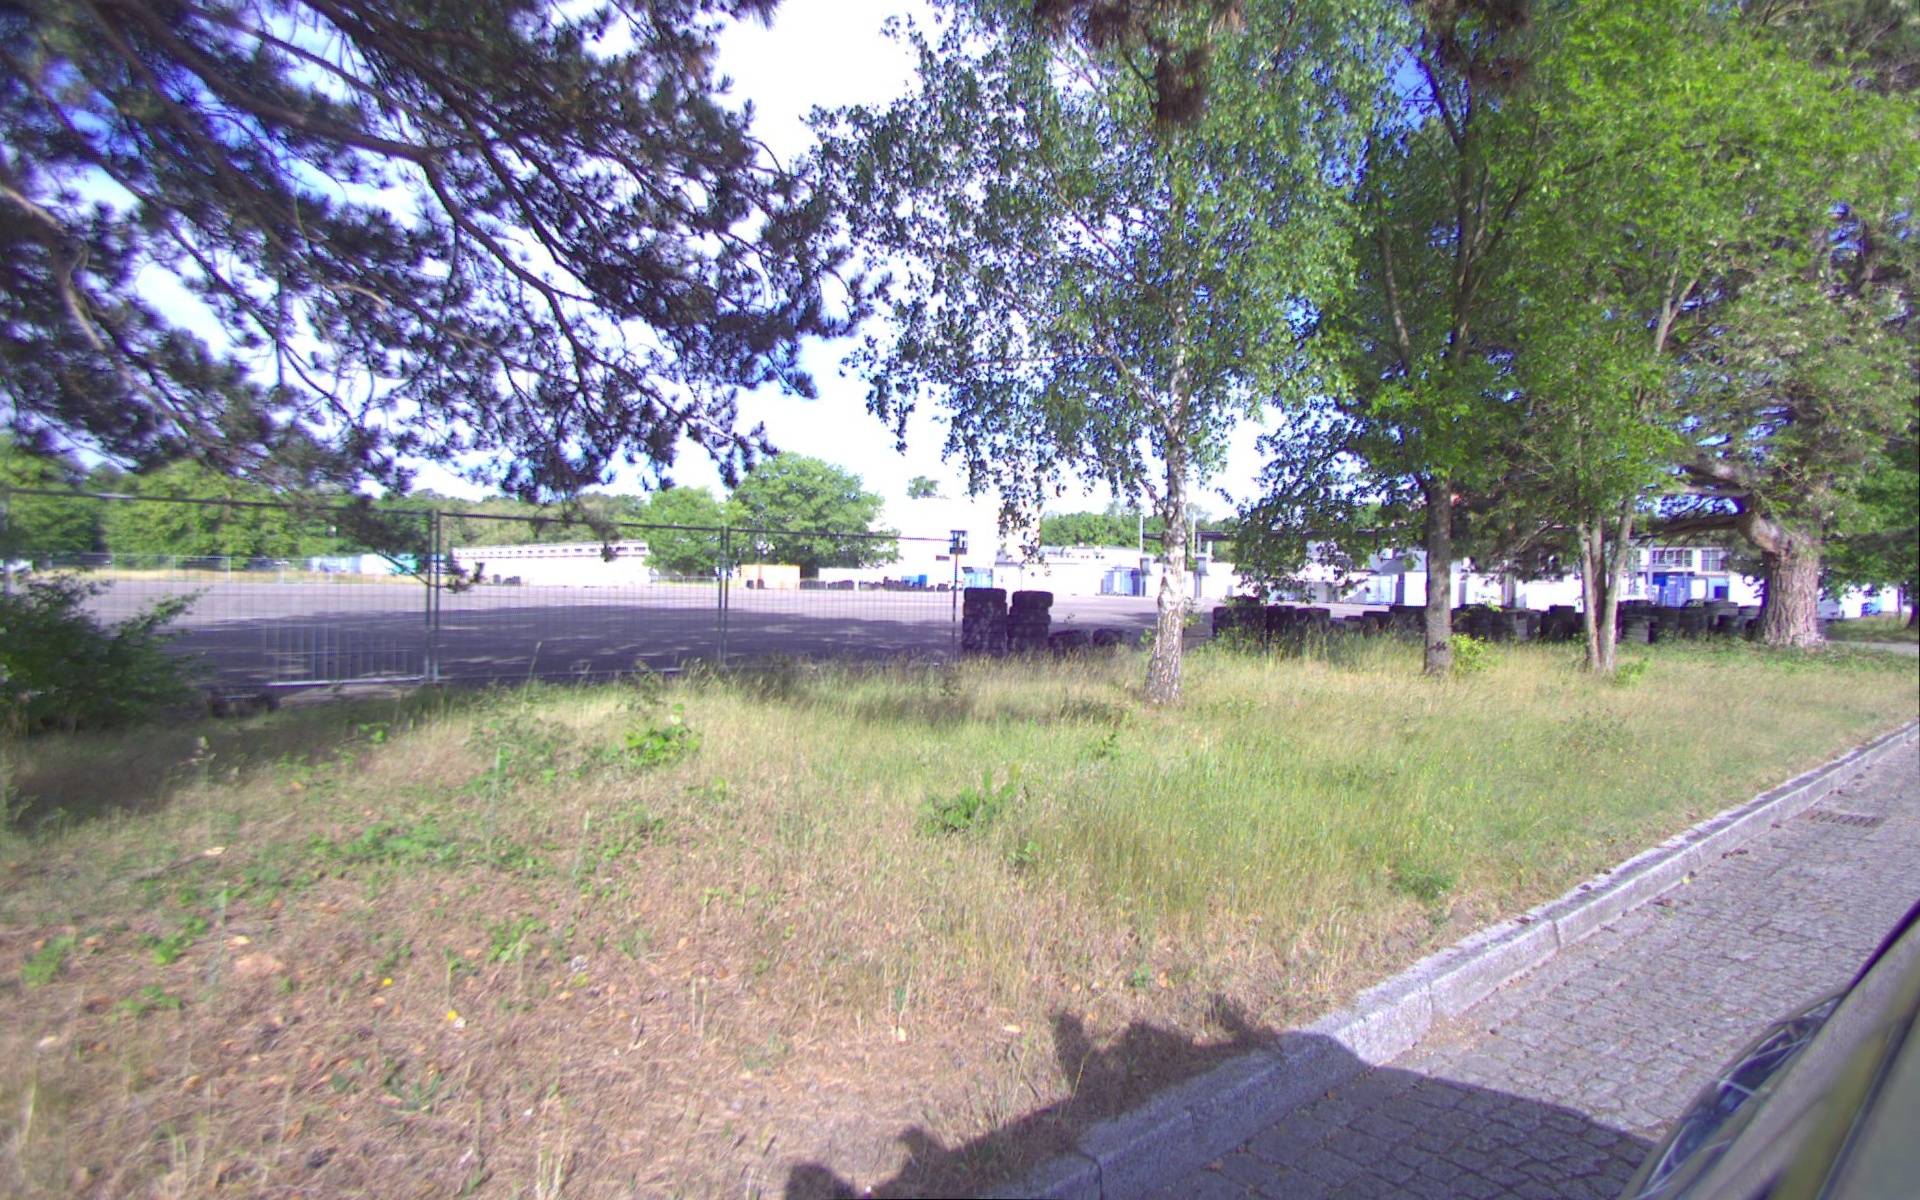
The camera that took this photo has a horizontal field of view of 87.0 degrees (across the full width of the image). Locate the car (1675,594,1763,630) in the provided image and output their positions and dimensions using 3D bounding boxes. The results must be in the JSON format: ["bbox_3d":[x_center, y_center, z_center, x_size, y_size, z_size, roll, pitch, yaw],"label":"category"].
[{"bbox_3d":[32.529,0.493,43.360,3.923,1.467,1.849,0,1,-34],"label":"car"}]
